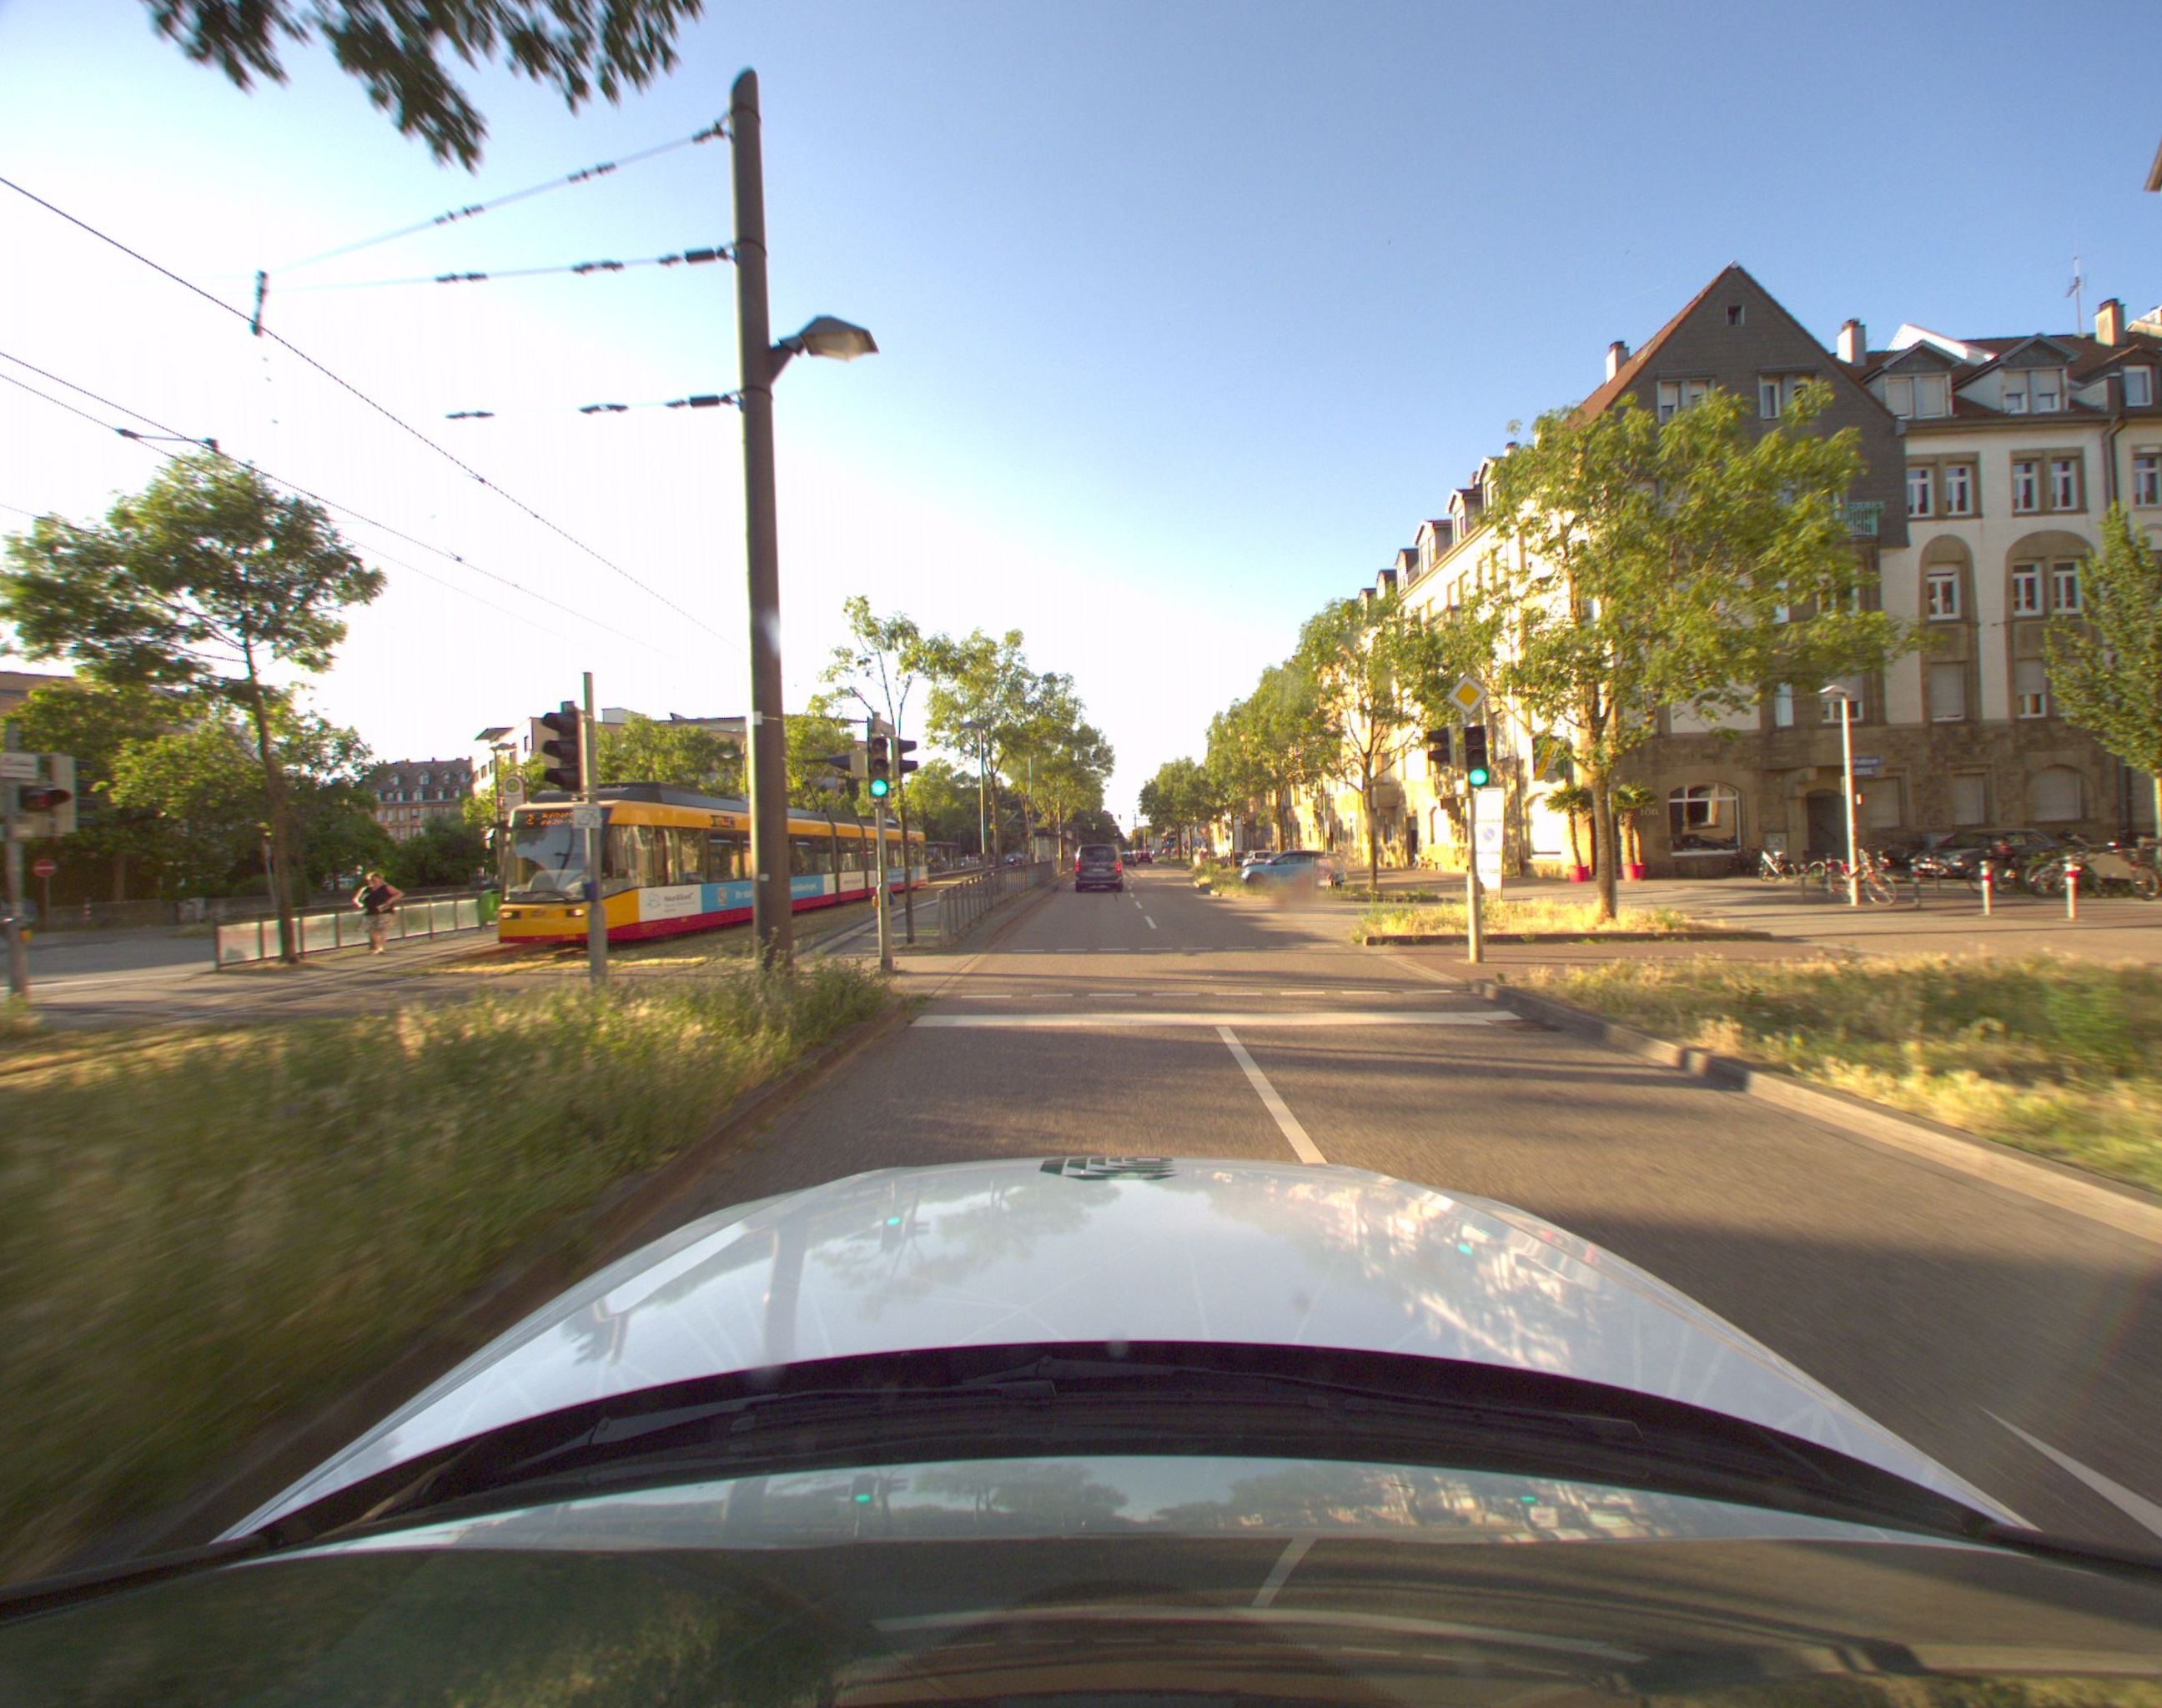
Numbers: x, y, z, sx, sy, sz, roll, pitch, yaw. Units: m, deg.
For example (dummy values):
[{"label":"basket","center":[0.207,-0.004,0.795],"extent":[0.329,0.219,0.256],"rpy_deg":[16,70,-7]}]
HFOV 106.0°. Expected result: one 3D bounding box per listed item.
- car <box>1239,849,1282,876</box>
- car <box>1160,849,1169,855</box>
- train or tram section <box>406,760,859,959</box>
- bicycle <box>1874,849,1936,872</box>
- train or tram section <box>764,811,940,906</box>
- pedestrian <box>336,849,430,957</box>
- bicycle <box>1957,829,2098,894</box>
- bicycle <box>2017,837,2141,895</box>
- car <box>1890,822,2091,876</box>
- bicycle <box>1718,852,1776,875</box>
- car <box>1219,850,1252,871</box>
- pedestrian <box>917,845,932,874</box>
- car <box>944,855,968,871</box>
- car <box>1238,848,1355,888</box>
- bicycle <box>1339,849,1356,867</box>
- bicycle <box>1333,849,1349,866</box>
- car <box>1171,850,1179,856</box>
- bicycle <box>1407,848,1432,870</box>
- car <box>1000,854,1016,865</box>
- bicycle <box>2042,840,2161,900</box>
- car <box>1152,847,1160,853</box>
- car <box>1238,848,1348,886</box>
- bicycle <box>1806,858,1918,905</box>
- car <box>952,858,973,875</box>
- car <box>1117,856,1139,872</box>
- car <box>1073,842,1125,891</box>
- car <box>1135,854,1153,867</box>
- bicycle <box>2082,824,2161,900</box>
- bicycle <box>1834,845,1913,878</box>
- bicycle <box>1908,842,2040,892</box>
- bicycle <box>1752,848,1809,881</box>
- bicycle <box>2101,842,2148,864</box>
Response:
[{"label":"car","center":[10.754,0.475,49.047],"extent":[1.719,1.512,4.273],"rpy_deg":[1,0,1]},{"label":"car","center":[24.439,-0.644,238.420],"extent":[1.987,1.656,4.297],"rpy_deg":[-2,0,-1]},{"label":"train or tram section","center":[-10.034,0.114,22.003],"extent":[3.418,3.430,15.034],"rpy_deg":[-2,0,2]},{"label":"bicycle","center":[27.959,0.215,27.643],"extent":[1.536,0.735,0.531],"rpy_deg":[-2,1,1]},{"label":"train or tram section","center":[-9.528,0.184,36.517],"extent":[3.418,3.339,13.863],"rpy_deg":[-2,0,2]},{"label":"pedestrian","center":[-13.578,0.924,15.870],"extent":[0.931,2.013,0.957],"rpy_deg":[-2,0,1]},{"label":"bicycle","center":[20.975,0.155,18.067],"extent":[2.343,1.320,0.730],"rpy_deg":[-2,0,-3]},{"label":"bicycle","center":[20.949,0.240,17.108],"extent":[1.967,1.124,0.574],"rpy_deg":[-2,0,-3]},{"label":"car","center":[27.935,-0.180,25.127],"extent":[3.973,1.466,2.001],"rpy_deg":[-2,2,0]},{"label":"bicycle","center":[22.605,0.326,27.651],"extent":[1.536,0.735,0.531],"rpy_deg":[-2,1,1]},{"label":"car","center":[11.058,0.437,58.512],"extent":[1.697,1.448,4.291],"rpy_deg":[1,0,2]},{"label":"pedestrian","center":[-11.161,0.392,58.082],"extent":[0.766,2.013,1.128],"rpy_deg":[-2,0,4]},{"label":"car","center":[-13.222,0.940,86.235],"extent":[1.852,1.654,4.002],"rpy_deg":[-1,0,2]},{"label":"car","center":[8.810,0.579,33.449],"extent":[4.232,1.522,1.859],"rpy_deg":[-1,0,34]},{"label":"bicycle","center":[18.166,0.282,55.478],"extent":[0.481,1.165,1.747],"rpy_deg":[-7,0,2]},{"label":"bicycle","center":[18.296,0.224,57.380],"extent":[0.481,1.165,1.747],"rpy_deg":[-7,0,2]},{"label":"car","center":[27.409,-0.410,237.379],"extent":[1.985,1.656,4.303],"rpy_deg":[-2,0,3]},{"label":"bicycle","center":[17.930,0.258,43.183],"extent":[0.570,1.073,1.897],"rpy_deg":[-3,0,2]},{"label":"car","center":[-10.275,0.755,115.027],"extent":[1.788,1.415,4.342],"rpy_deg":[-1,0,1]},{"label":"bicycle","center":[20.804,0.312,16.461],"extent":[2.199,1.105,0.538],"rpy_deg":[-2,0,-3]},{"label":"car","center":[22.115,-1.182,241.061],"extent":[1.987,1.656,4.297],"rpy_deg":[-2,0,-1]},{"label":"car","center":[9.344,0.516,35.962],"extent":[4.286,1.571,2.014],"rpy_deg":[0,1,31]},{"label":"bicycle","center":[16.128,0.555,16.884],"extent":[0.458,0.872,1.885],"rpy_deg":[-7,-1,2]},{"label":"car","center":[-13.951,1.438,96.071],"extent":[1.852,2.014,4.002],"rpy_deg":[-1,0,2]},{"label":"car","center":[4.761,0.973,82.796],"extent":[1.988,1.510,3.998],"rpy_deg":[-1,0,-1]},{"label":"car","center":[0.799,0.484,33.622],"extent":[1.985,1.900,4.303],"rpy_deg":[0,0,3]},{"label":"car","center":[7.605,0.756,98.389],"extent":[1.986,1.510,4.001],"rpy_deg":[-1,0,1]},{"label":"bicycle","center":[20.889,0.115,15.584],"extent":[2.658,1.384,0.730],"rpy_deg":[-2,0,-3]},{"label":"bicycle","center":[24.330,0.222,25.042],"extent":[0.626,0.947,1.885],"rpy_deg":[-2,1,2]},{"label":"bicycle","center":[20.718,0.301,18.912],"extent":[2.322,1.050,0.730],"rpy_deg":[-2,0,-3]},{"label":"bicycle","center":[21.669,0.320,25.270],"extent":[0.623,0.947,1.893],"rpy_deg":[-1,1,16]},{"label":"bicycle","center":[35.068,-0.032,27.370],"extent":[1.141,0.681,0.327],"rpy_deg":[-2,1,1]}]
